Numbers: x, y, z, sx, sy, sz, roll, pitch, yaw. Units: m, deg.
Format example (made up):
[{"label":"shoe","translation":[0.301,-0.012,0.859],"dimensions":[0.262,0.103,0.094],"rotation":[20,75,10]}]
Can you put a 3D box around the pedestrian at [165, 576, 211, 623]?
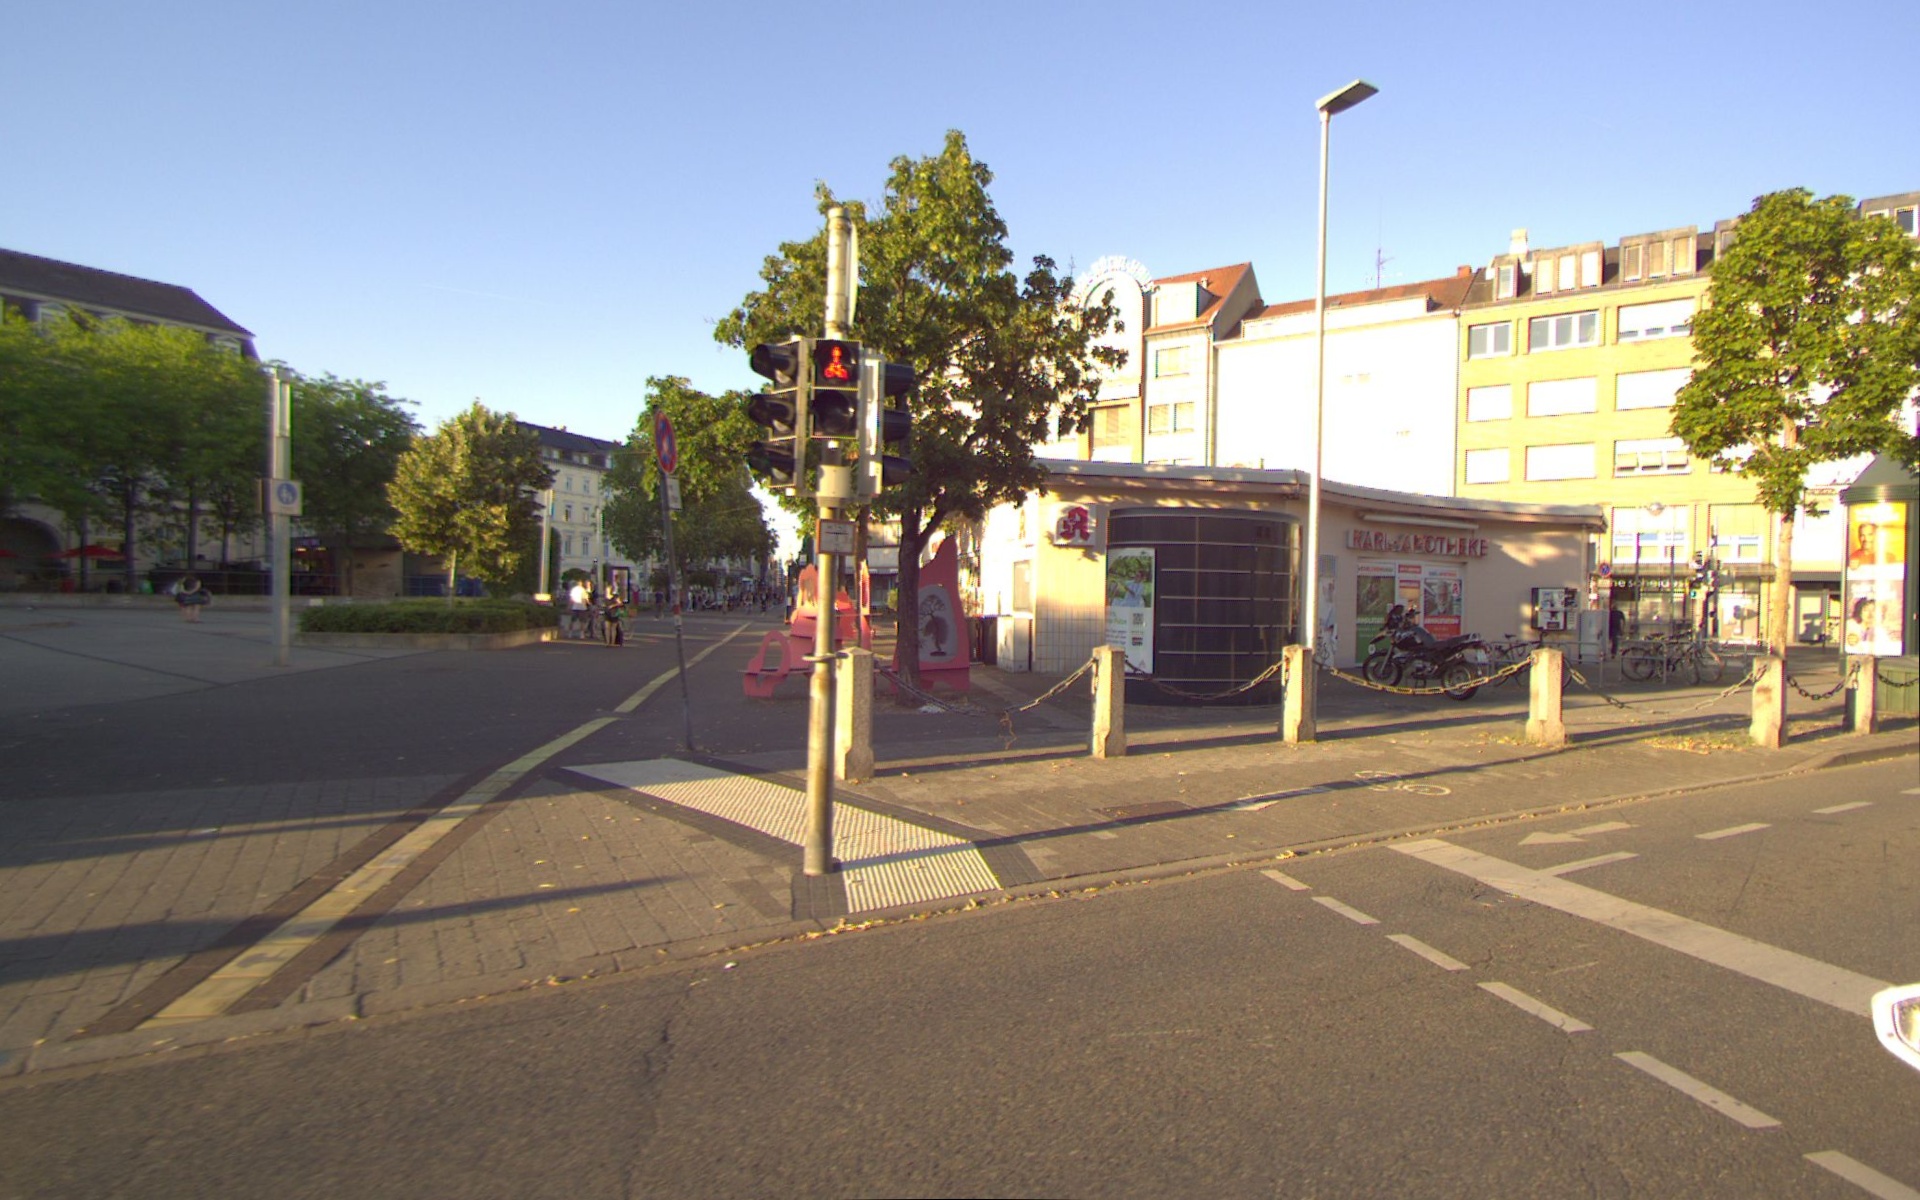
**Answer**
[{"label":"pedestrian","translation":[-25.418,-0.014,33.086],"dimensions":[0.829,1.521,0.947],"rotation":[1,0,30]}]

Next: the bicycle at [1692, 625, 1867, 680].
[{"label":"bicycle","translation":[18.203,1.131,22.436],"dimensions":[0.832,1.036,2.931],"rotation":[1,0,-27]}]

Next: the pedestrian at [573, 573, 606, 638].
[{"label":"pedestrian","translation":[-11.909,0.163,32.329],"dimensions":[0.944,2.041,1.055],"rotation":[1,1,-18]}]

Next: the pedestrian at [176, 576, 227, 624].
[{"label":"pedestrian","translation":[-24.583,-0.009,32.559],"dimensions":[0.963,1.521,0.988],"rotation":[1,0,28]}]

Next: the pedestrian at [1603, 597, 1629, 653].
[{"label":"pedestrian","translation":[19.494,0.746,29.869],"dimensions":[0.539,1.632,0.642],"rotation":[1,1,26]}]

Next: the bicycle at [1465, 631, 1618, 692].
[{"label":"bicycle","translation":[10.340,1.069,17.977],"dimensions":[0.693,0.931,2.314],"rotation":[1,0,-32]}]

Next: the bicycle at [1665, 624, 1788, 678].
[{"label":"bicycle","translation":[17.153,1.114,22.530],"dimensions":[0.673,1.078,2.082],"rotation":[1,0,-29]}]

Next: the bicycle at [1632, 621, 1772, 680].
[{"label":"bicycle","translation":[16.038,1.067,21.795],"dimensions":[0.790,1.146,2.313],"rotation":[1,0,-28]}]

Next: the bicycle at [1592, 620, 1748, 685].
[{"label":"bicycle","translation":[14.385,1.037,20.440],"dimensions":[0.693,1.161,2.509],"rotation":[1,0,-32]}]

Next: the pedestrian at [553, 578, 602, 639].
[{"label":"pedestrian","translation":[-11.654,0.260,30.613],"dimensions":[1.169,1.801,0.710],"rotation":[1,0,5]}]

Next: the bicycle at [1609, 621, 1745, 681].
[{"label":"bicycle","translation":[15.223,1.056,21.396],"dimensions":[0.803,1.150,2.223],"rotation":[1,0,-32]}]

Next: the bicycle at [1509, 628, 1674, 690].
[{"label":"bicycle","translation":[12.027,1.097,19.233],"dimensions":[0.923,1.011,2.509],"rotation":[1,0,-32]}]

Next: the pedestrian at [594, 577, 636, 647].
[{"label":"pedestrian","translation":[-9.144,0.319,26.663],"dimensions":[0.695,1.801,0.897],"rotation":[1,0,8]}]

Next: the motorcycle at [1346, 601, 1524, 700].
[{"label":"motorcycle","translation":[7.673,0.769,16.369],"dimensions":[1.100,1.445,2.401],"rotation":[1,0,-31]}]

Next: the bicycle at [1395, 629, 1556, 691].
[{"label":"bicycle","translation":[8.997,1.016,17.660],"dimensions":[0.693,0.931,2.509],"rotation":[1,0,-32]}]

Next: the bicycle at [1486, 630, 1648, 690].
[{"label":"bicycle","translation":[11.141,1.072,18.556],"dimensions":[0.693,0.931,2.509],"rotation":[1,0,-32]}]
